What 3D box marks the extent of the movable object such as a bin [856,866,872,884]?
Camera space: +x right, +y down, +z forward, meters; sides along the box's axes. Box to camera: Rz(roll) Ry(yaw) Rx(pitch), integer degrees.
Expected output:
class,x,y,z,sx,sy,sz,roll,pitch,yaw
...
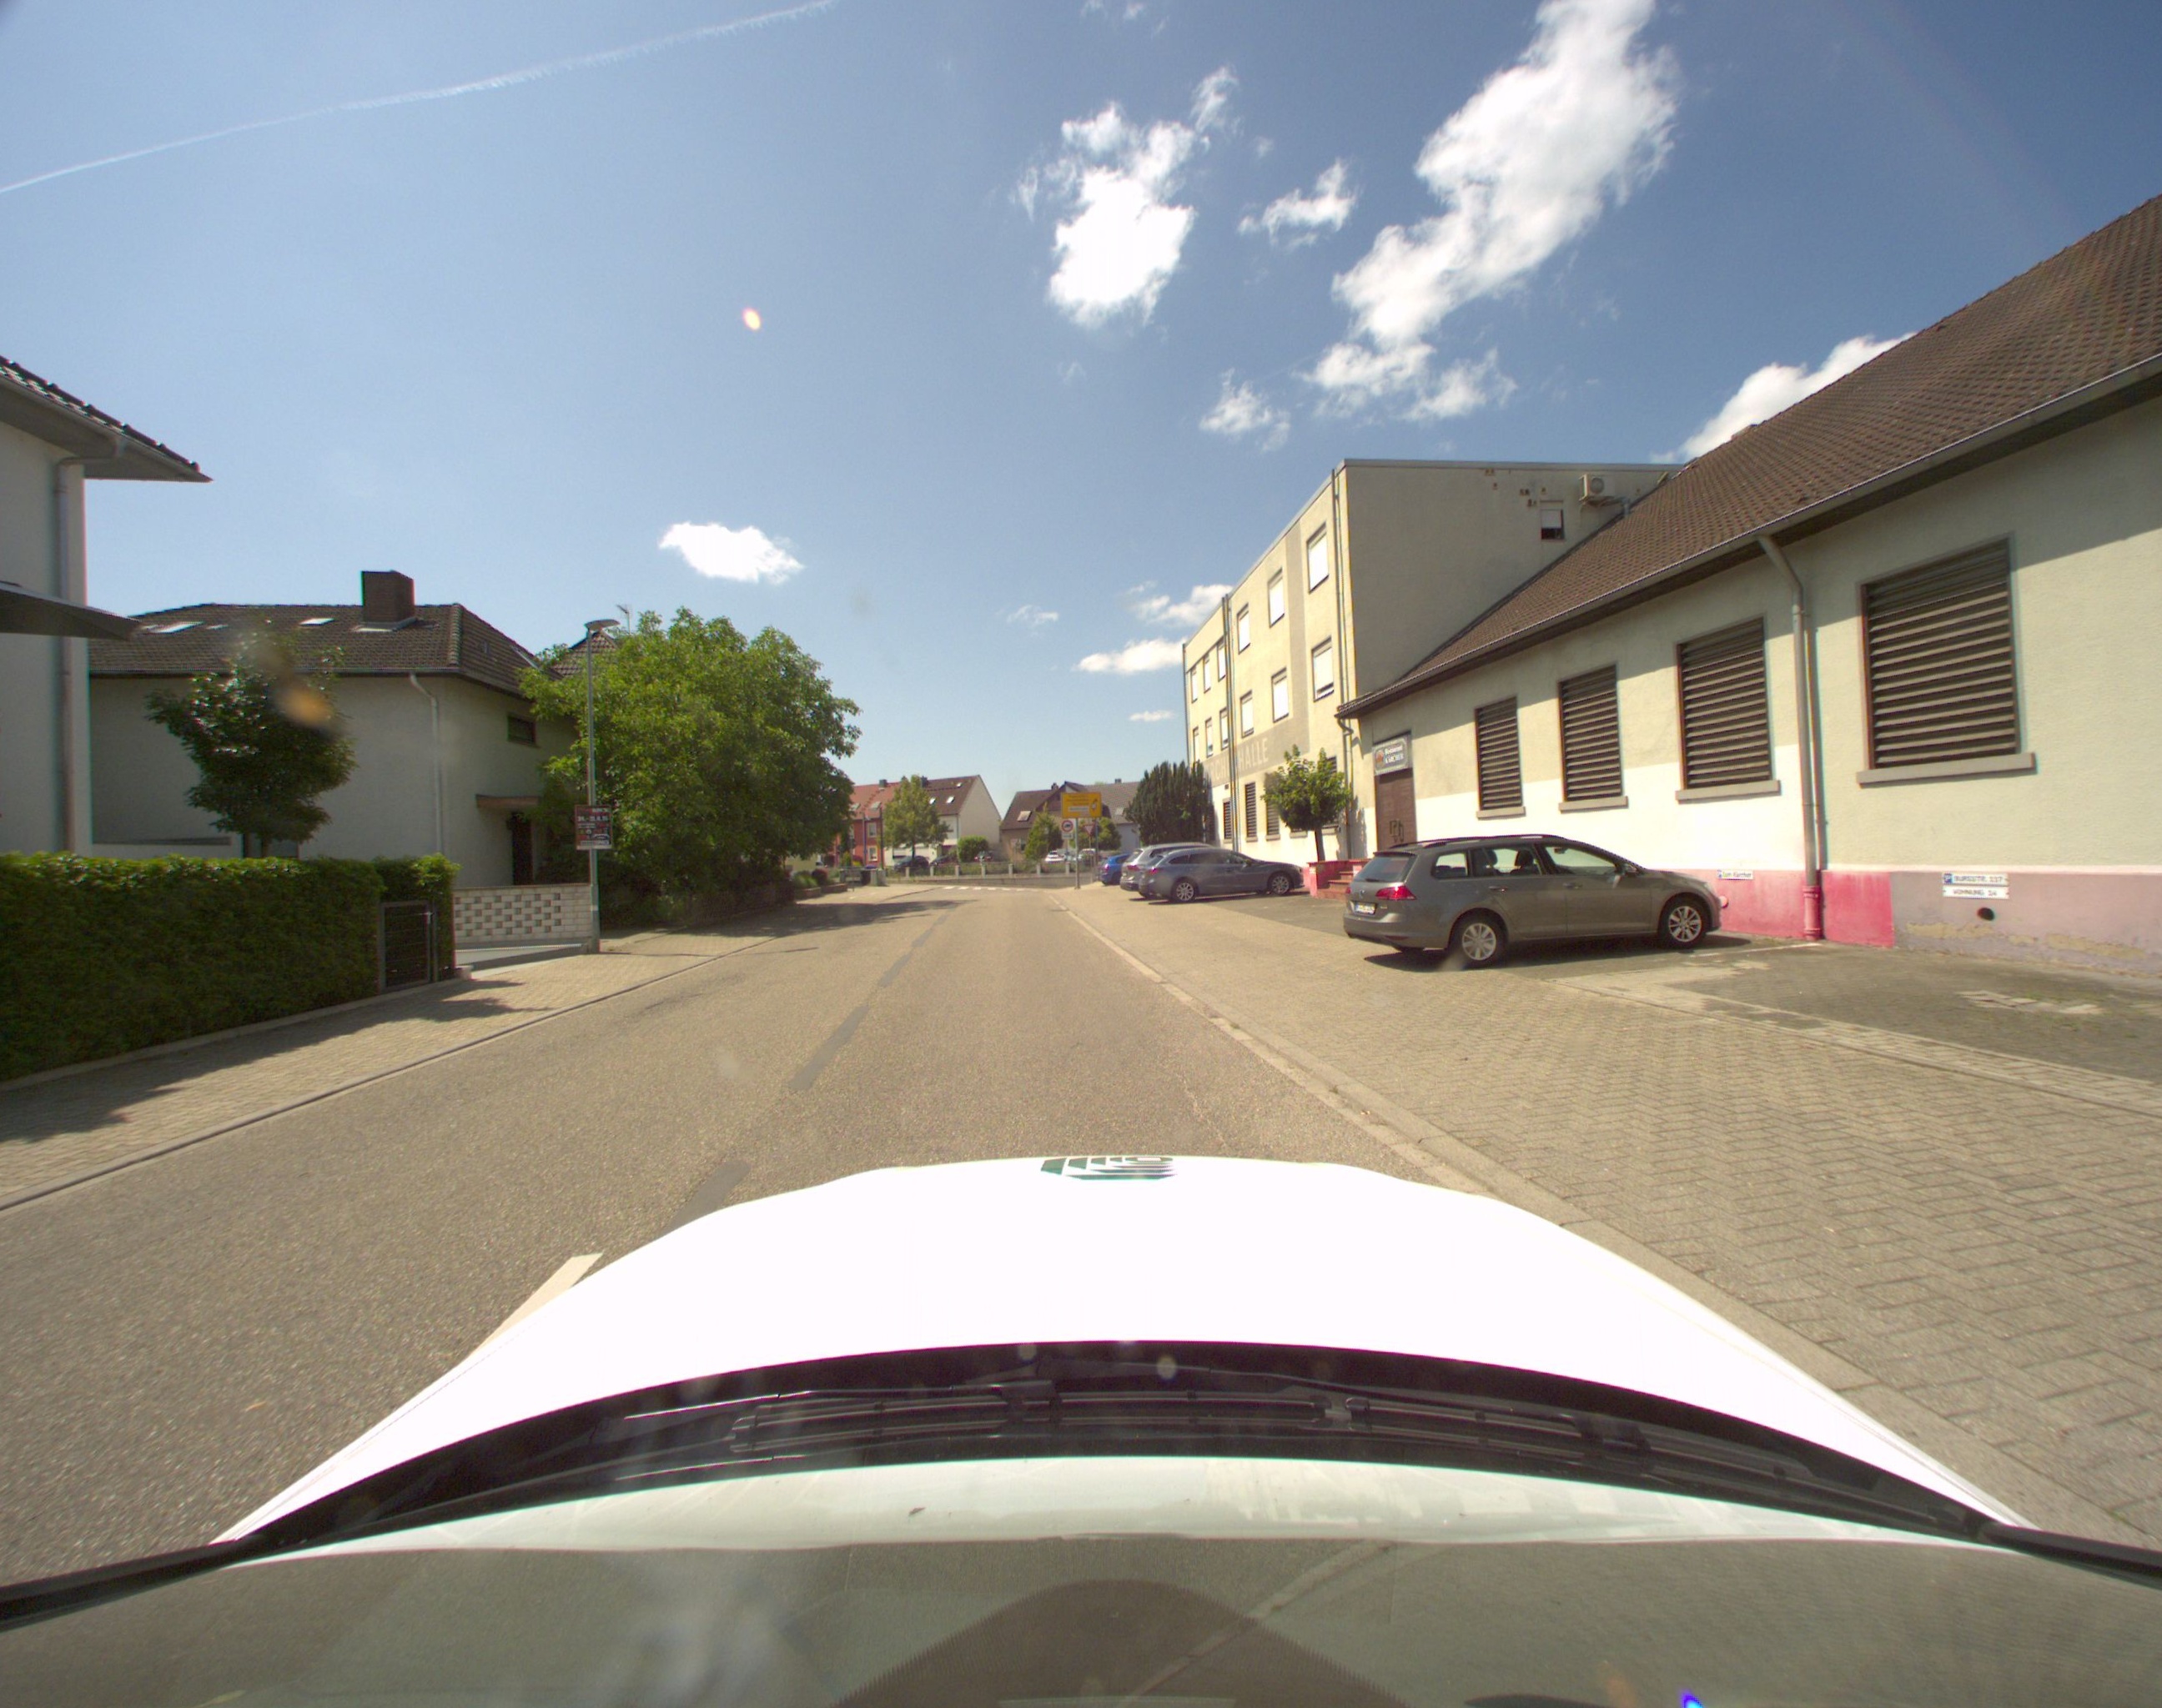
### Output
class,x,y,z,sx,sy,sz,roll,pitch,yaw
movable object such as a bin,-14.894,1.440,56.030,0.883,1.225,0.901,-1,-1,-4

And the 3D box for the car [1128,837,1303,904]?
class,x,y,z,sx,sy,sz,roll,pitch,yaw
car,3.790,0.453,23.400,4.497,1.519,1.995,-4,0,-7

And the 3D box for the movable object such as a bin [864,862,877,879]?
class,x,y,z,sx,sy,sz,roll,pitch,yaw
movable object such as a bin,-15.336,1.220,59.364,0.842,1.213,1.268,-1,-1,-19

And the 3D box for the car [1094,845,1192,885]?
class,x,y,z,sx,sy,sz,roll,pitch,yaw
car,2.952,0.519,39.048,4.319,1.439,1.775,-6,-2,-8

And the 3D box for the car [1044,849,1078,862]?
class,x,y,z,sx,sy,sz,roll,pitch,yaw
car,-1.776,0.141,72.092,1.810,1.020,3.476,2,-1,20

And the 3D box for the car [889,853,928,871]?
class,x,y,z,sx,sy,sz,roll,pitch,yaw
car,-16.461,0.798,77.873,1.852,1.586,3.627,2,-1,20

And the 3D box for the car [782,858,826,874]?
class,x,y,z,sx,sy,sz,roll,pitch,yaw
car,-29.080,1.250,85.602,1.726,1.488,4.281,2,-1,27

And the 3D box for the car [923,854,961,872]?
class,x,y,z,sx,sy,sz,roll,pitch,yaw
car,-13.002,0.837,76.357,1.852,1.586,3.627,2,-1,20

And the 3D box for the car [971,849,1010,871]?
class,x,y,z,sx,sy,sz,roll,pitch,yaw
car,-8.252,0.563,74.910,1.852,1.797,4.020,2,-1,20

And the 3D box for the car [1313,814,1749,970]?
class,x,y,z,sx,sy,sz,roll,pitch,yaw
car,5.509,0.415,10.305,4.521,1.454,1.914,-4,0,-7

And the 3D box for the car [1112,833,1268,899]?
class,x,y,z,sx,sy,sz,roll,pitch,yaw
car,3.378,0.348,25.636,4.451,1.697,1.917,-4,0,-9

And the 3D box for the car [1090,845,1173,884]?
class,x,y,z,sx,sy,sz,roll,pitch,yaw
car,2.593,0.555,42.288,3.894,1.490,1.804,-7,-1,-9

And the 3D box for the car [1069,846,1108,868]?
class,x,y,z,sx,sy,sz,roll,pitch,yaw
car,0.698,0.297,71.208,1.977,1.797,4.217,2,-1,20
